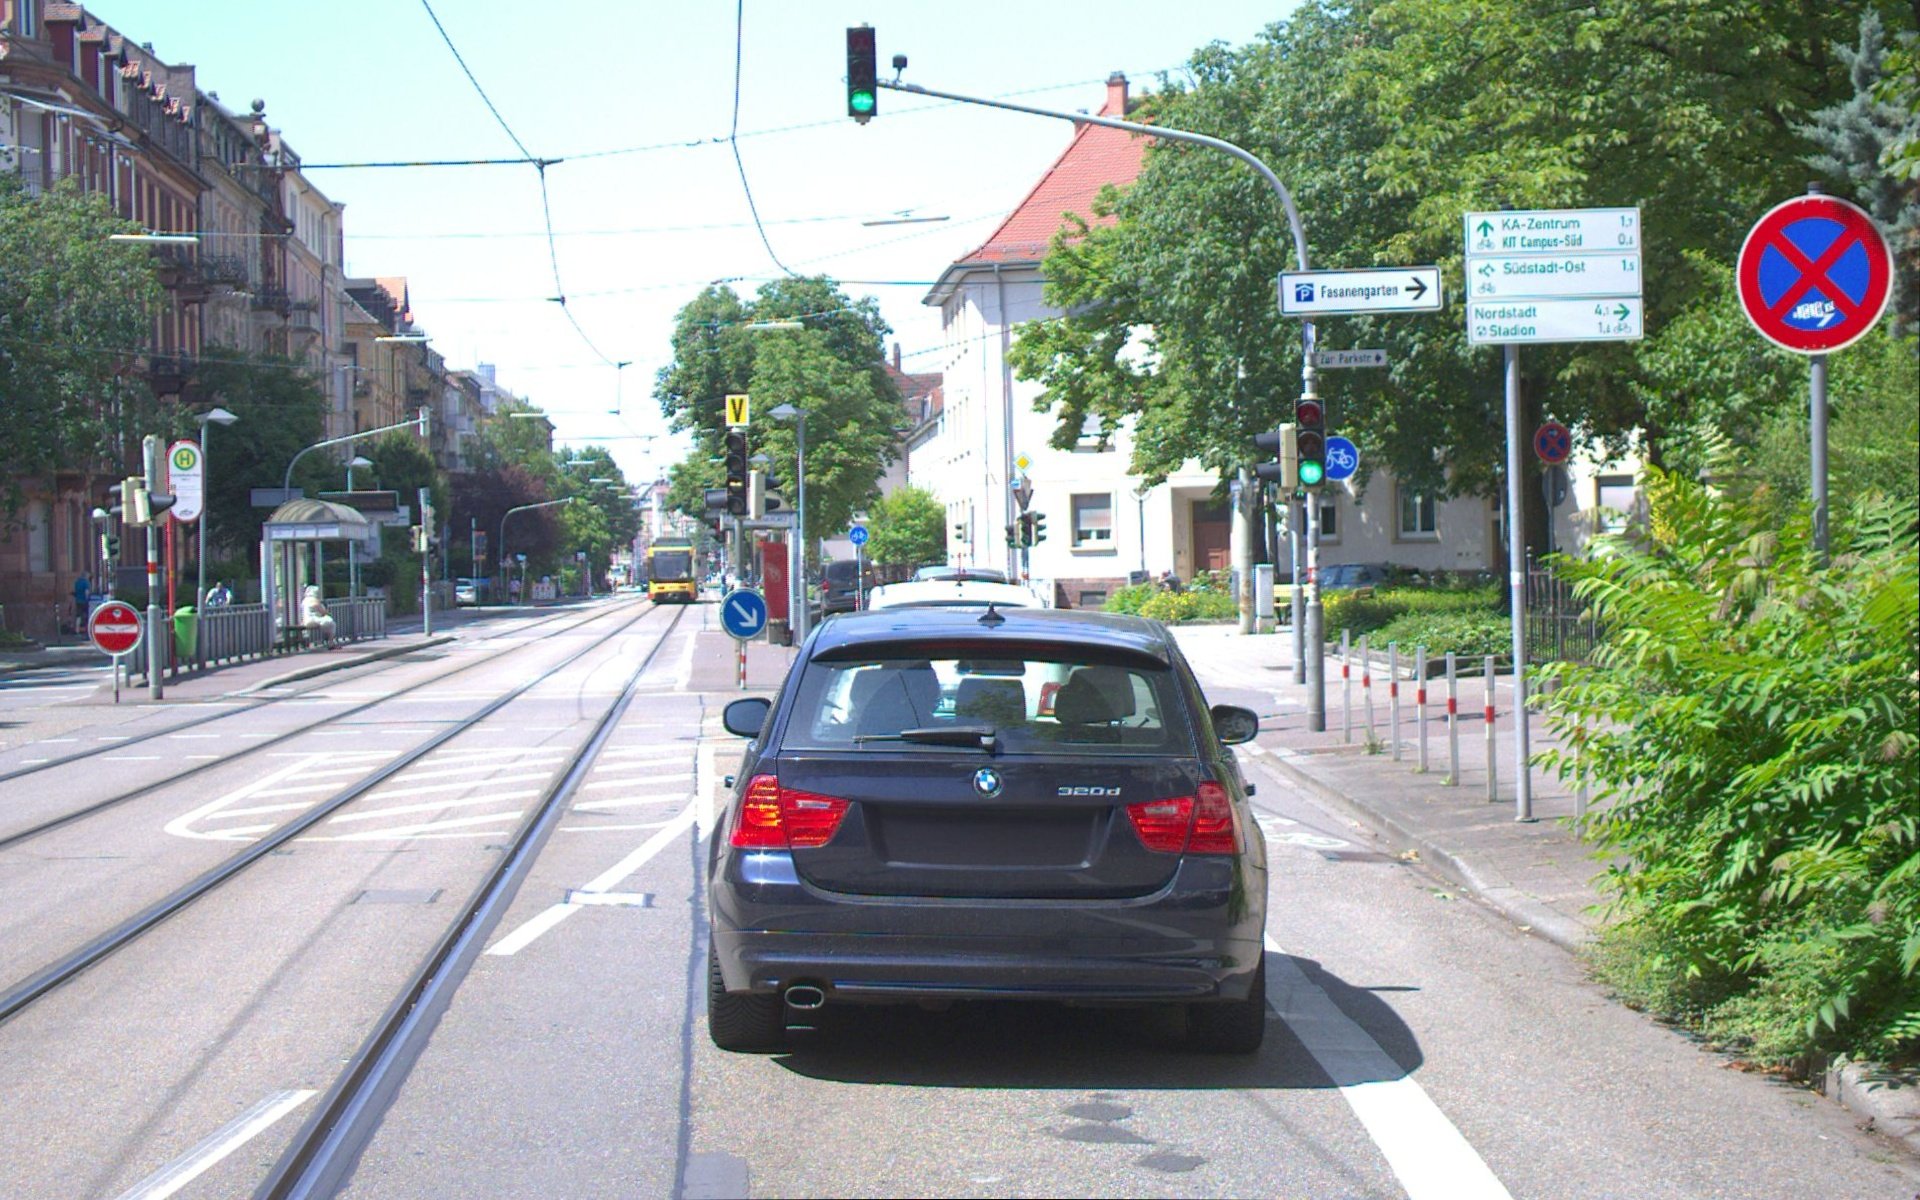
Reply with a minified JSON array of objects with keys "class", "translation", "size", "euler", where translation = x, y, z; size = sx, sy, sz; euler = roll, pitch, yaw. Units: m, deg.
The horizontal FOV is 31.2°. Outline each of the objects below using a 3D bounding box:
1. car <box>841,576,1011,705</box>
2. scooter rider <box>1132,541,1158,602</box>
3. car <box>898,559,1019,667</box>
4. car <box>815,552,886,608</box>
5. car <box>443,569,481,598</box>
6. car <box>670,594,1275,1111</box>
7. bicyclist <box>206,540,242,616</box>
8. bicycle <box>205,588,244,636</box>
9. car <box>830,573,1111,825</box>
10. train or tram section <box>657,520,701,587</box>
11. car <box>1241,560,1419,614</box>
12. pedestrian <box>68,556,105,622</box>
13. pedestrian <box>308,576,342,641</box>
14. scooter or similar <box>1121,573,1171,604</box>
[{"class":"car","translation":[-0.422,0.416,38.051],"size":[1.691,1.318,3.822],"euler":[-1,1,-3]},{"class":"scooter rider","translation":[5.178,-0.804,96.114],"size":[0.590,1.681,0.528],"euler":[-1,1,-9]},{"class":"car","translation":[-0.049,0.167,50.810],"size":[1.691,1.508,3.821],"euler":[-1,1,-1]},{"class":"car","translation":[-3.757,-0.701,117.215],"size":[1.993,1.842,4.001],"euler":[-1,1,-7]},{"class":"car","translation":[-27.612,-0.926,190.624],"size":[1.787,1.580,4.001],"euler":[0,0,-12]},{"class":"car","translation":[0.080,0.724,12.220],"size":[1.722,1.404,4.565],"euler":[1,1,1]},{"class":"bicyclist","translation":[-18.128,-0.546,84.707],"size":[0.722,1.864,0.825],"euler":[-1,1,-4]},{"class":"bicycle","translation":[-18.106,0.285,84.686],"size":[0.728,1.098,1.716],"euler":[1,2,-5]},{"class":"car","translation":[0.063,0.589,22.802],"size":[1.685,1.479,3.684],"euler":[-1,1,0]},{"class":"train or tram section","translation":[-15.017,-2.483,183.976],"size":[2.190,3.470,8.846],"euler":[-1,1,-4]},{"class":"car","translation":[9.025,-0.310,84.012],"size":[3.994,1.239,1.621],"euler":[-1,1,31]},{"class":"pedestrian","translation":[-24.342,-0.306,95.806],"size":[0.640,1.805,0.739],"euler":[-1,1,29]},{"class":"pedestrian","translation":[-12.321,0.164,66.710],"size":[0.613,1.238,0.628],"euler":[-1,0,-10]},{"class":"scooter or similar","translation":[5.195,-0.313,96.130],"size":[1.311,0.834,0.527],"euler":[-1,0,-9]}]
